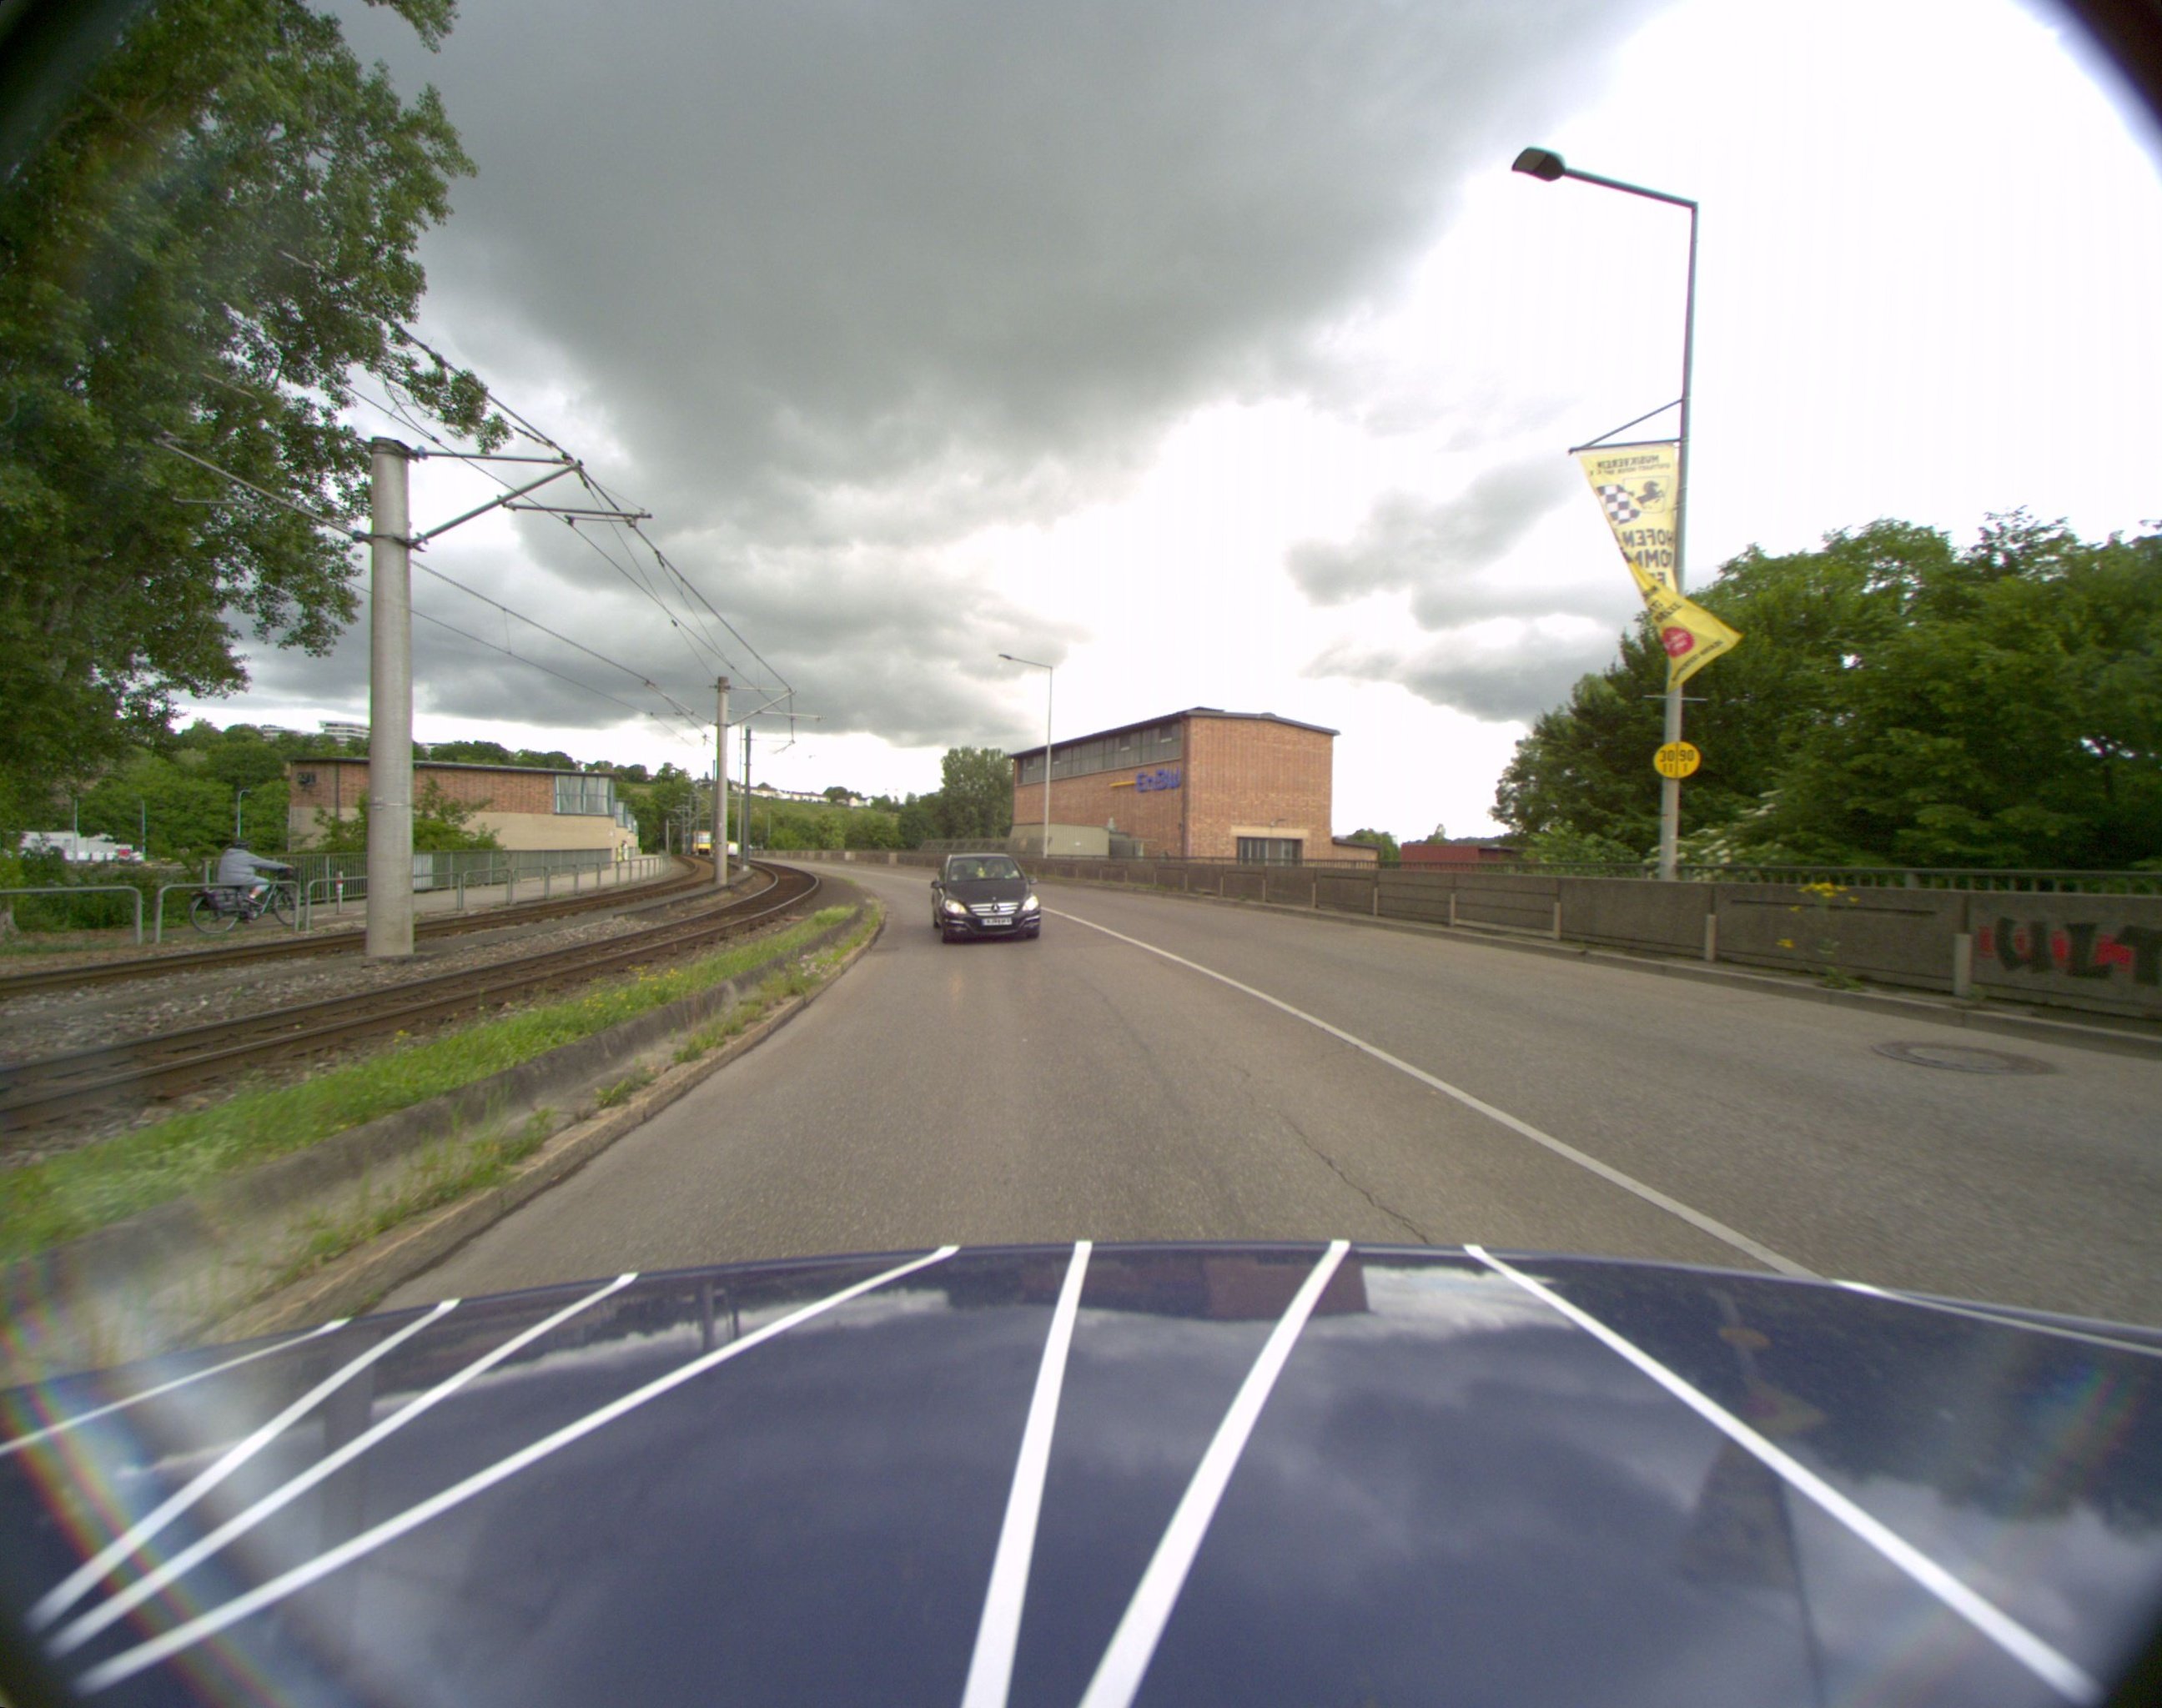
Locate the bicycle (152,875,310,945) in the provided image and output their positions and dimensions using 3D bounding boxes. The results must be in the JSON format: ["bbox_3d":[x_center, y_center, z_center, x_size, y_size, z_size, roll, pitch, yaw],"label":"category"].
[{"bbox_3d":[-14.671,0.927,13.213,0.427,1.044,2.079,-1,0,-2],"label":"bicycle"}]

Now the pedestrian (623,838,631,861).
[{"bbox_3d":[-33.359,-0.318,55.844,0.512,1.655,0.351,0,2,-34],"label":"pedestrian"}]

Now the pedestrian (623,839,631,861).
[{"bbox_3d":[-33.575,-0.297,56.171,0.512,1.655,0.351,0,2,-34],"label":"pedestrian"}]

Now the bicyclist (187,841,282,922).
[{"bbox_3d":[-14.671,0.454,13.196,0.595,1.352,0.910,-1,1,-1],"label":"bicyclist"}]

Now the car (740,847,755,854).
[{"bbox_3d":[-73.872,-0.766,168.238,2.000,1.565,3.996,0,2,-6],"label":"car"}]

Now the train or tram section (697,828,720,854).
[{"bbox_3d":[-57.211,-2.017,116.665,3.037,3.896,9.420,0,1,-27],"label":"train or tram section"}]

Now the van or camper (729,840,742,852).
[{"bbox_3d":[-69.742,-1.634,153.344,2.160,2.461,4.700,-1,1,-25],"label":"van or camper"}]

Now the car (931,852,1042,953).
[{"bbox_3d":[-1.927,0.804,14.795,1.862,1.612,3.995,0,1,-10],"label":"car"}]
